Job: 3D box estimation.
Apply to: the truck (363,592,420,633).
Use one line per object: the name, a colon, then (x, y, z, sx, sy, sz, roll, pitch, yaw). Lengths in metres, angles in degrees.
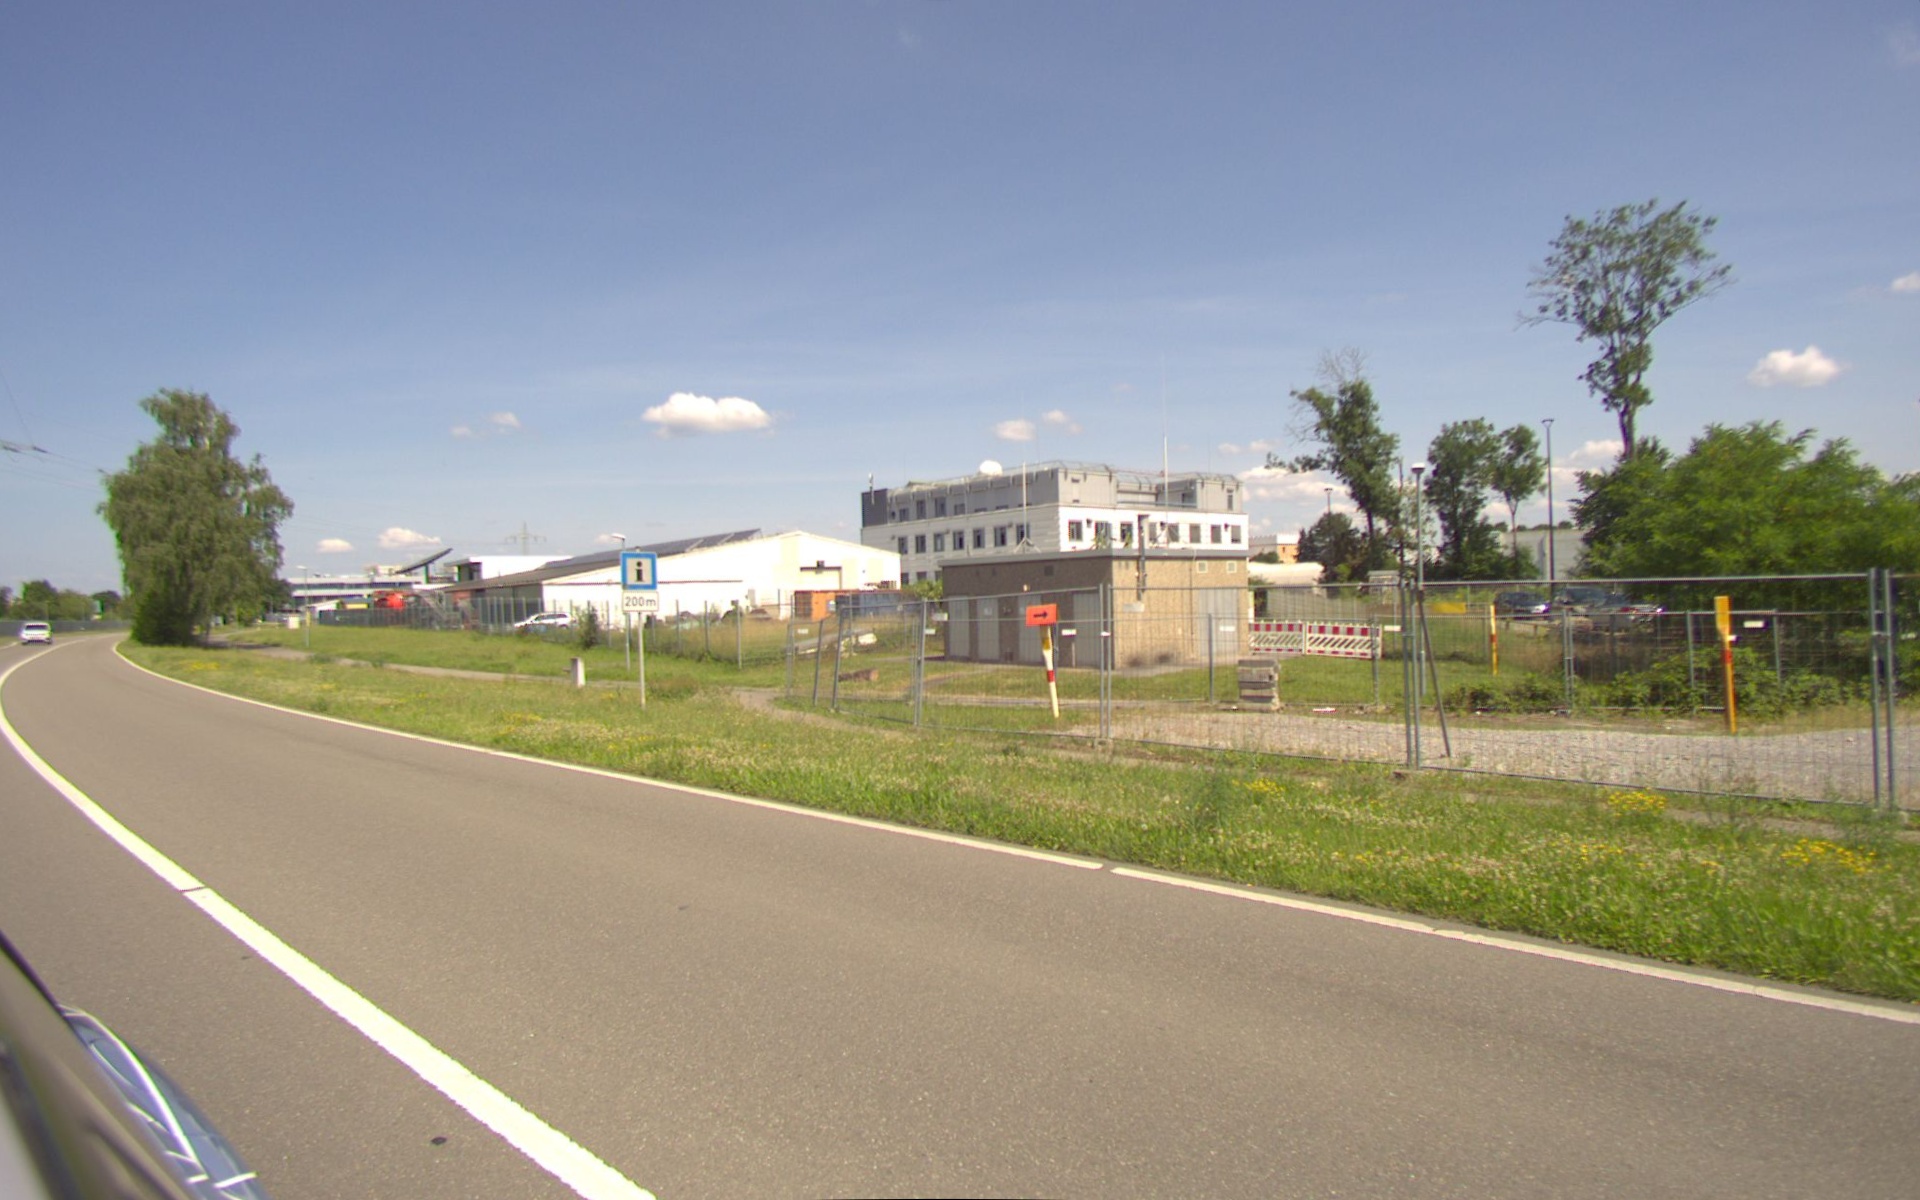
truck: (-53.831, 1.166, 95.679, 3.061, 3.672, 10.614, 0, -1, -38)

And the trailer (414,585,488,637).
trailer: (-38.544, 0.842, 76.453, 3.356, 3.672, 8.675, 0, -1, -38)

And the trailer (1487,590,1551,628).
trailer: (28.790, 0.464, 52.243, 1.982, 1.894, 3.979, -1, 0, 16)

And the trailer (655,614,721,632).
trailer: (-18.812, 1.574, 70.055, 3.936, 1.175, 1.908, -1, 0, -39)

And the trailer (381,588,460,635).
trailer: (-45.874, 0.997, 85.695, 3.248, 3.672, 14.954, 0, -1, -38)

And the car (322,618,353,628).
car: (-104.763, 3.850, 170.300, 4.157, 1.613, 1.874, 0, -1, -40)

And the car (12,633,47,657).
car: (-75.993, 3.648, 82.674, 1.808, 1.820, 4.838, 0, -1, -39)

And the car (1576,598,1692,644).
car: (24.170, 0.728, 36.462, 1.978, 1.565, 3.988, -1, 0, 10)
